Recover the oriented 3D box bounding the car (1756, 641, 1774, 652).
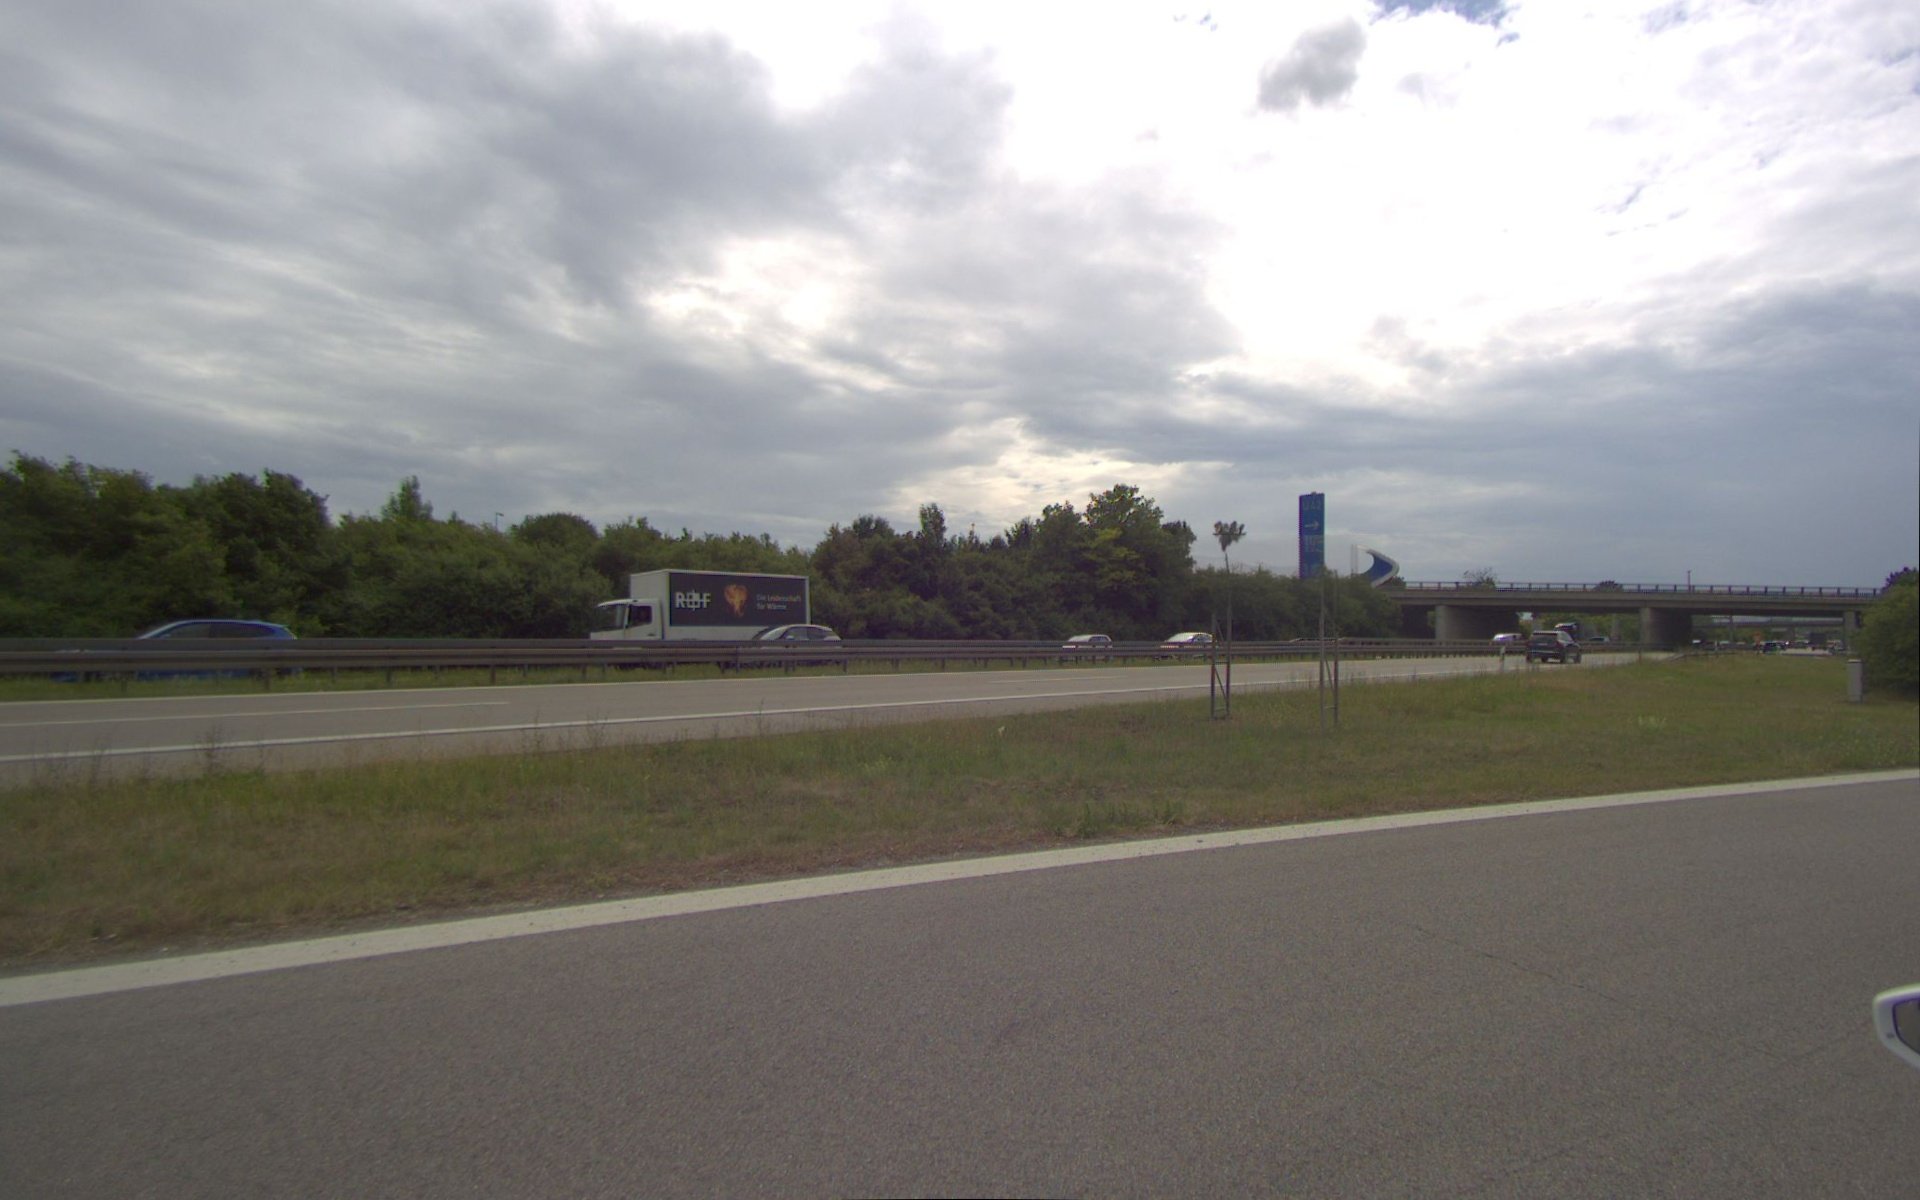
[{"bbox_3d":[107.514,6.208,134.177,1.698,1.539,3.979,-1,-2,42],"label":"car"}]

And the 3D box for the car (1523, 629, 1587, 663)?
[{"bbox_3d":[33.145,2.535,55.887,1.973,1.785,4.894,0,-2,44],"label":"car"}]

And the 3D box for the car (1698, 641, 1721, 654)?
[{"bbox_3d":[91.982,5.790,123.273,1.816,1.472,4.355,0,-2,42],"label":"car"}]

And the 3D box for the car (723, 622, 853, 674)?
[{"bbox_3d":[-5.686,1.591,33.575,1.852,1.595,3.978,0,-2,42],"label":"car"}]

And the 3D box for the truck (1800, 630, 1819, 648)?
[{"bbox_3d":[166.405,7.748,196.646,2.441,3.415,7.879,-1,-3,43],"label":"truck"}]

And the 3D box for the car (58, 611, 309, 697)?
[{"bbox_3d":[-16.510,1.104,21.475,1.972,1.650,3.977,0,-2,43],"label":"car"}]

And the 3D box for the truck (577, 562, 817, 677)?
[{"bbox_3d":[-9.263,0.765,36.276,2.729,3.694,8.150,0,-2,43],"label":"truck"}]

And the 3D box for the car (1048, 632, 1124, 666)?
[{"bbox_3d":[6.580,2.548,52.415,1.972,1.650,3.977,0,-2,43],"label":"car"}]

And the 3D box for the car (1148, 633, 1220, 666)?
[{"bbox_3d":[11.435,2.505,51.128,1.852,1.595,3.978,0,-2,42],"label":"car"}]

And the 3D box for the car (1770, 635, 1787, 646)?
[{"bbox_3d":[145.178,7.173,178.115,1.972,1.766,4.801,-1,-3,43],"label":"car"}]
